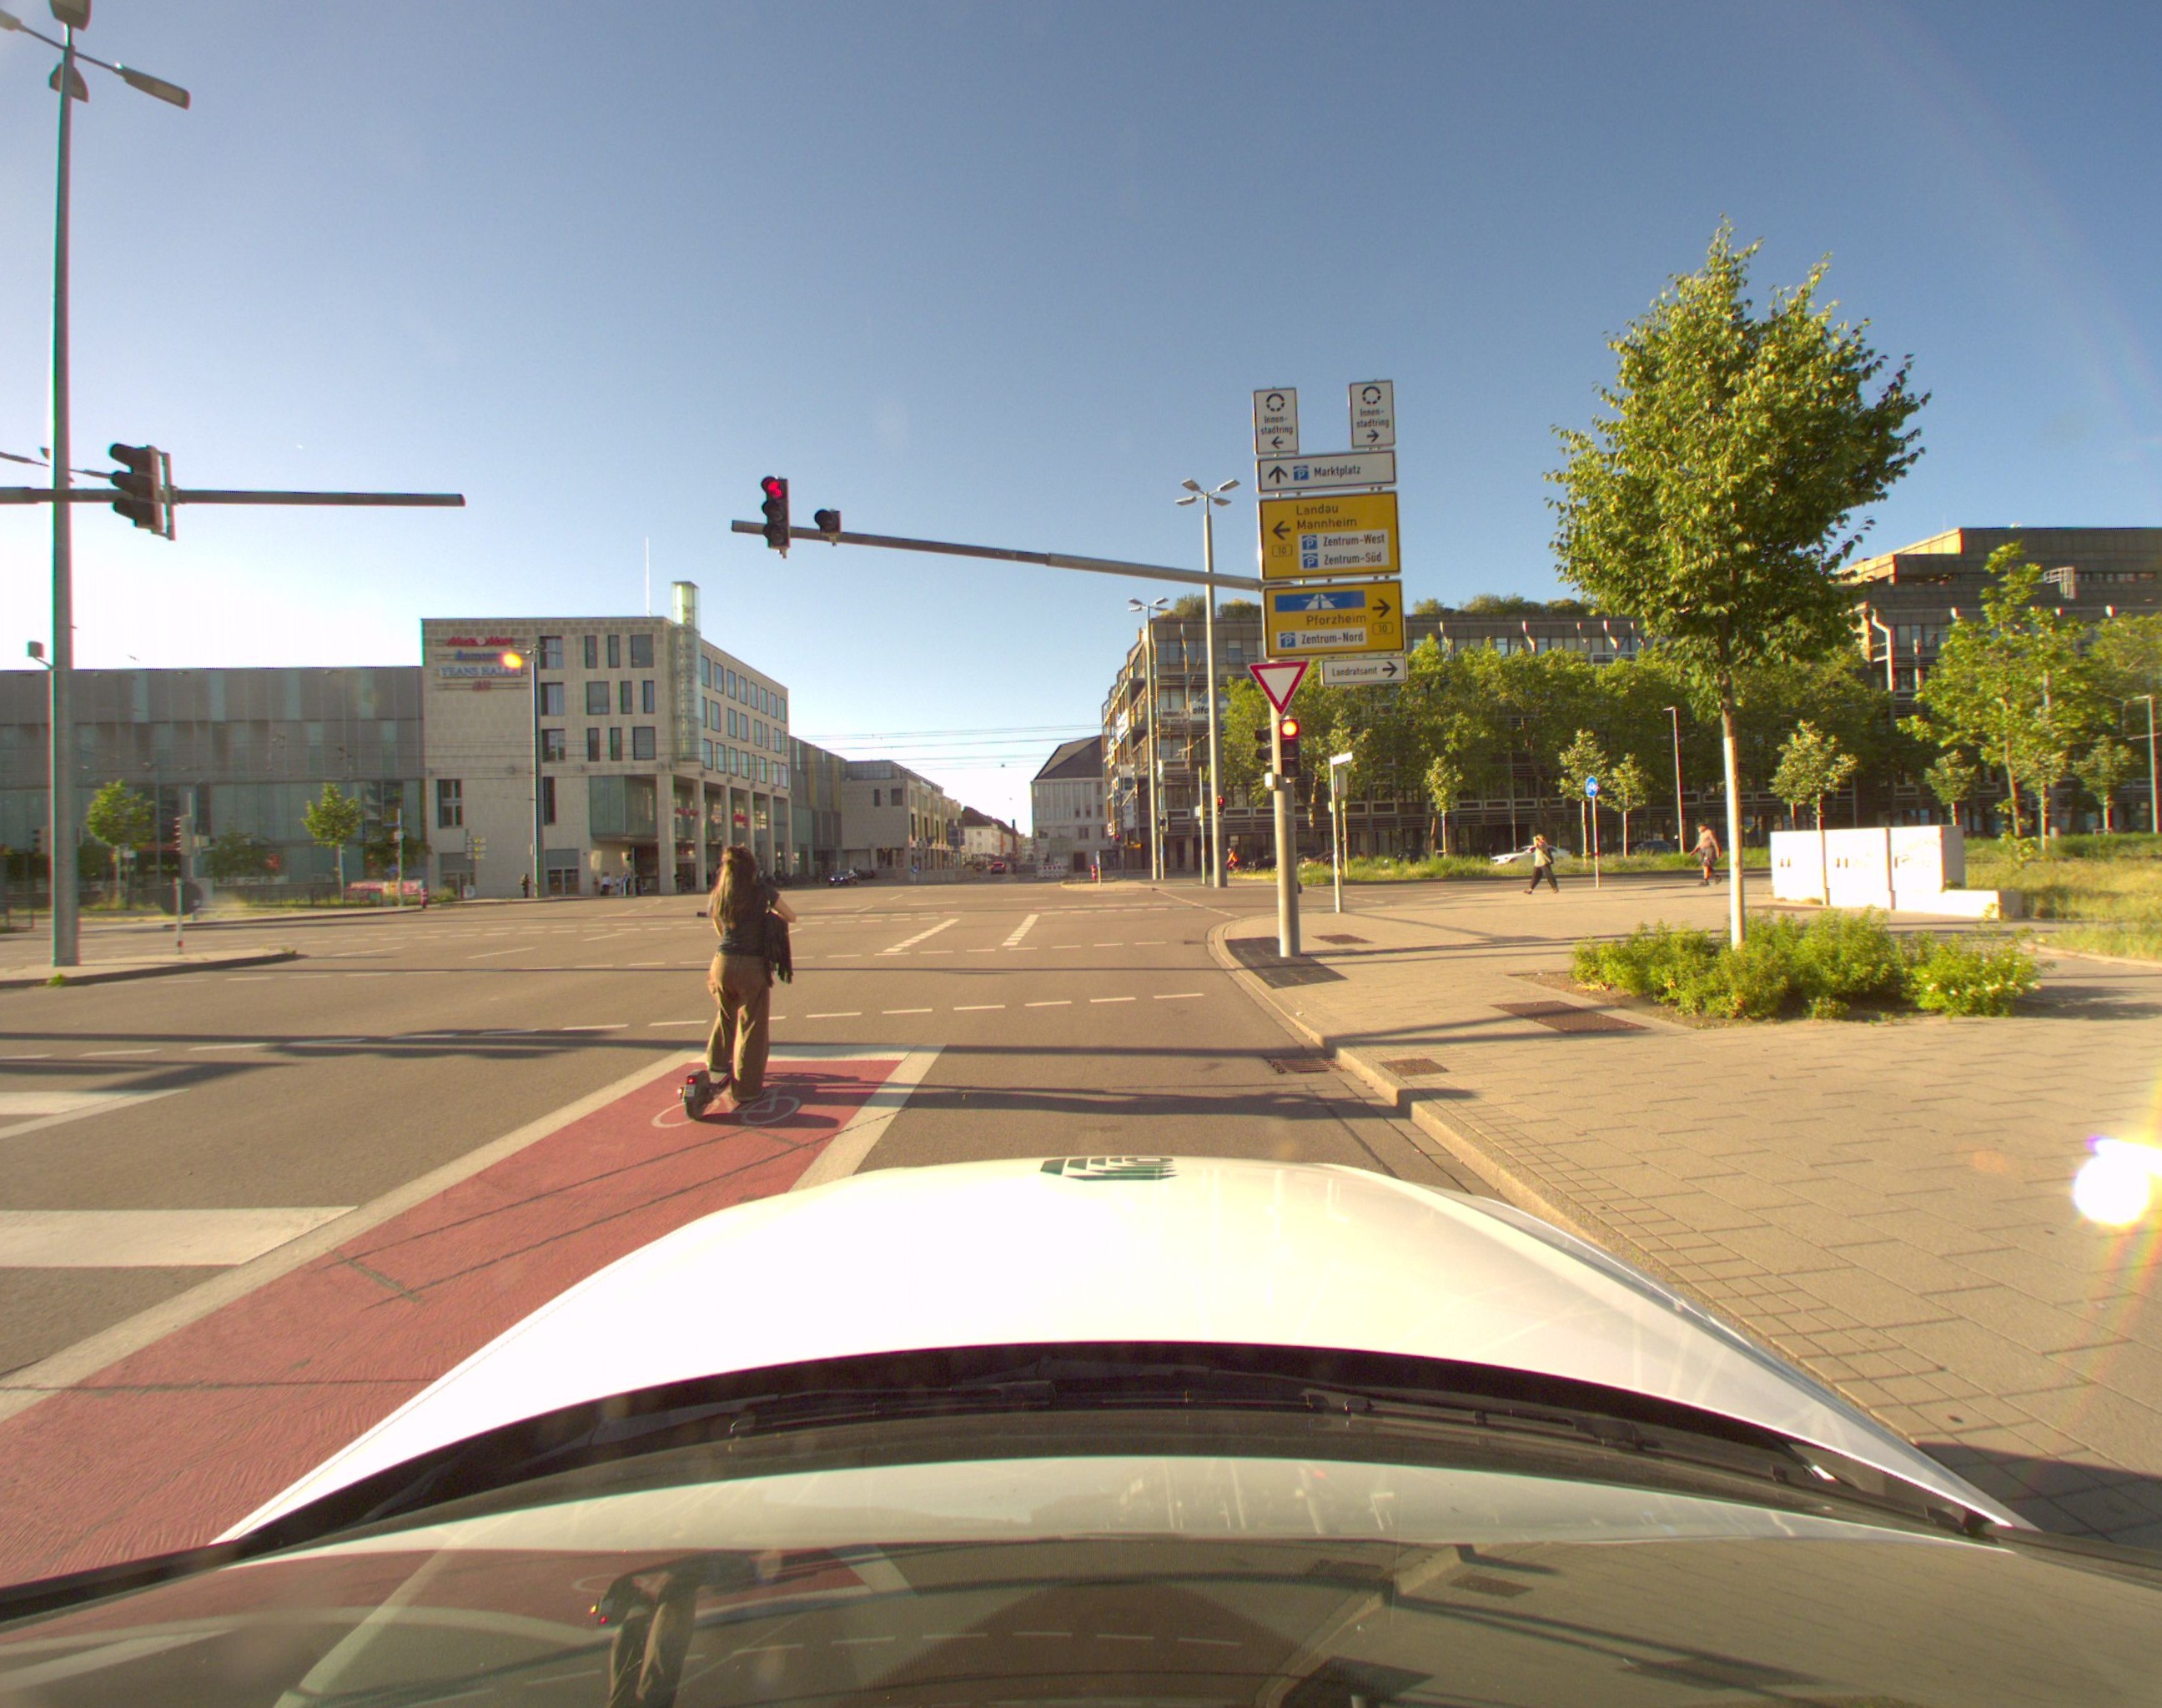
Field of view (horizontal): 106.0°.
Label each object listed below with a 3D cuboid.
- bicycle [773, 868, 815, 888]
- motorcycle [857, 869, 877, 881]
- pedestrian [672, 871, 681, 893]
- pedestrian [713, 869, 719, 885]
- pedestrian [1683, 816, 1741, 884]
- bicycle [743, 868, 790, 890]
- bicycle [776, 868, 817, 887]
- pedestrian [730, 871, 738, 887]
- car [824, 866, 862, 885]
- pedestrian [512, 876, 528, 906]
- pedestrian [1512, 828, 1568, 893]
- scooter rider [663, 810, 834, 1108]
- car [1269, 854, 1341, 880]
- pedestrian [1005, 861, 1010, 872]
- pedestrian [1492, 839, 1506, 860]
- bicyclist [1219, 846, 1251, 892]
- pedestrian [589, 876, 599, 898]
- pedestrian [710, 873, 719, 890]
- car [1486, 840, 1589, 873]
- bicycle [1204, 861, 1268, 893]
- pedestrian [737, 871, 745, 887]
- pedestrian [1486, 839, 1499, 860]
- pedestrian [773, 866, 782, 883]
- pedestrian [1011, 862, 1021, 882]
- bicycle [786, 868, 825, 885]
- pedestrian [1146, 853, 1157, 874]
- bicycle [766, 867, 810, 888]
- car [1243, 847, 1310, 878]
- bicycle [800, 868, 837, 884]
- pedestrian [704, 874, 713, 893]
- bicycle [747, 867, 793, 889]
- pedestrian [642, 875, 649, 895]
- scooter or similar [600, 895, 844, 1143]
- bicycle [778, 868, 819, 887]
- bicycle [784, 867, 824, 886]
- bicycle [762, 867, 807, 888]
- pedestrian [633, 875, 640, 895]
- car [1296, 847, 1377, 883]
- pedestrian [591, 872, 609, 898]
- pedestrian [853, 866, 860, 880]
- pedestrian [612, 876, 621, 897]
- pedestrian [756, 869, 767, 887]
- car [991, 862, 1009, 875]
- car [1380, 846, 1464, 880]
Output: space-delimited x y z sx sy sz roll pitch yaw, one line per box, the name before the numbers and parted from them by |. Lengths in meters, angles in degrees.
bicycle | -26.682 2.181 75.753 3.491 1.696 0.984 -2 0 -10
motorcycle | -25.969 2.538 98.858 2.269 1.318 0.719 -2 0 -4
pedestrian | -30.012 2.059 60.452 0.544 1.642 0.545 -2 0 -31
pedestrian | -33.931 2.161 75.735 0.385 1.439 0.367 -2 0 -3
pedestrian | 16.719 -0.100 21.603 0.694 1.728 0.939 -2 0 -12
bicycle | -26.733 2.097 69.285 3.488 1.696 1.114 -2 0 -7
bicycle | -26.857 2.200 76.850 3.491 1.696 0.984 -2 0 -10
pedestrian | -34.029 2.465 79.924 0.480 1.585 0.598 -2 0 -3
car | -20.748 1.887 71.192 1.986 1.486 4.002 -2 0 2
pedestrian | -32.592 2.149 47.351 0.525 1.694 0.546 -2 0 -8
pedestrian | 12.057 0.172 21.418 0.801 1.630 0.939 -2 0 -12
scooter rider | -2.118 0.631 5.293 0.726 1.775 0.811 -1 0 1
car | 13.851 0.785 50.466 3.976 1.508 1.867 -1 0 -2
pedestrian | -9.515 1.656 105.223 0.608 1.411 0.569 -2 0 -5
pedestrian | 33.419 -0.362 65.186 0.662 1.658 0.739 -2 0 -5
bicyclist | 8.884 0.857 47.062 1.566 2.580 0.929 -2 0 -7
pedestrian | -35.285 2.403 58.996 0.420 1.565 0.457 -2 0 2
pedestrian | -32.257 2.421 71.695 0.480 1.510 0.513 -2 0 -3
car | 28.892 0.148 51.644 5.424 2.014 2.097 0 -1 -1
bicycle | 8.925 1.318 47.058 3.488 1.659 0.929 -2 0 -7
pedestrian | -33.405 2.461 80.034 0.480 1.585 0.598 -2 0 -3
pedestrian | 33.429 -0.354 66.164 0.662 1.658 0.739 -2 0 -5
pedestrian | -29.959 1.981 80.387 0.652 1.642 0.693 -2 0 -7
pedestrian | -5.381 1.473 67.579 0.661 1.658 0.755 -2 0 -1
bicycle | -27.411 2.227 81.152 3.491 1.527 0.984 -2 0 -10
pedestrian | 5.659 0.775 65.561 0.728 1.658 0.649 -2 0 -5
bicycle | -26.321 2.116 73.167 3.488 1.696 1.114 -2 0 -7
car | 12.838 0.563 53.614 3.975 2.014 1.999 0 -1 -1
bicycle | -27.550 2.292 85.573 3.491 1.527 0.984 -2 0 -10
pedestrian | -32.516 2.592 71.037 0.480 1.585 0.513 -2 0 -3
bicycle | -26.909 2.067 70.454 3.488 1.696 1.114 -2 0 -7
pedestrian | -32.342 2.307 60.422 0.388 1.412 0.434 -2 0 -25
scooter or similar | -2.126 0.908 5.101 0.725 1.202 1.665 -1 0 2
bicycle | -27.045 2.211 78.058 3.491 1.696 0.984 -2 0 -10
bicycle | -27.250 2.235 80.155 3.491 1.696 0.984 -2 0 -10
bicycle | -26.145 2.070 71.946 3.488 1.696 1.114 -2 0 -7
pedestrian | -32.823 2.301 60.180 0.388 1.426 0.498 -2 0 -24
car | 14.451 0.622 46.200 3.975 2.014 1.999 0 -1 -1
pedestrian | -33.887 2.169 57.355 0.755 1.798 0.736 -2 0 -3
pedestrian | -27.348 2.327 99.139 0.695 1.642 0.694 -2 0 -21
pedestrian | -34.159 2.375 59.890 0.421 1.527 0.456 -2 0 -6
pedestrian | -30.680 2.290 78.131 0.783 1.642 0.693 -2 0 -7
car | -10.792 1.887 108.853 2.195 1.607 4.320 -2 0 -4
car | 21.404 0.565 51.238 4.435 2.014 1.998 0 -1 -4
